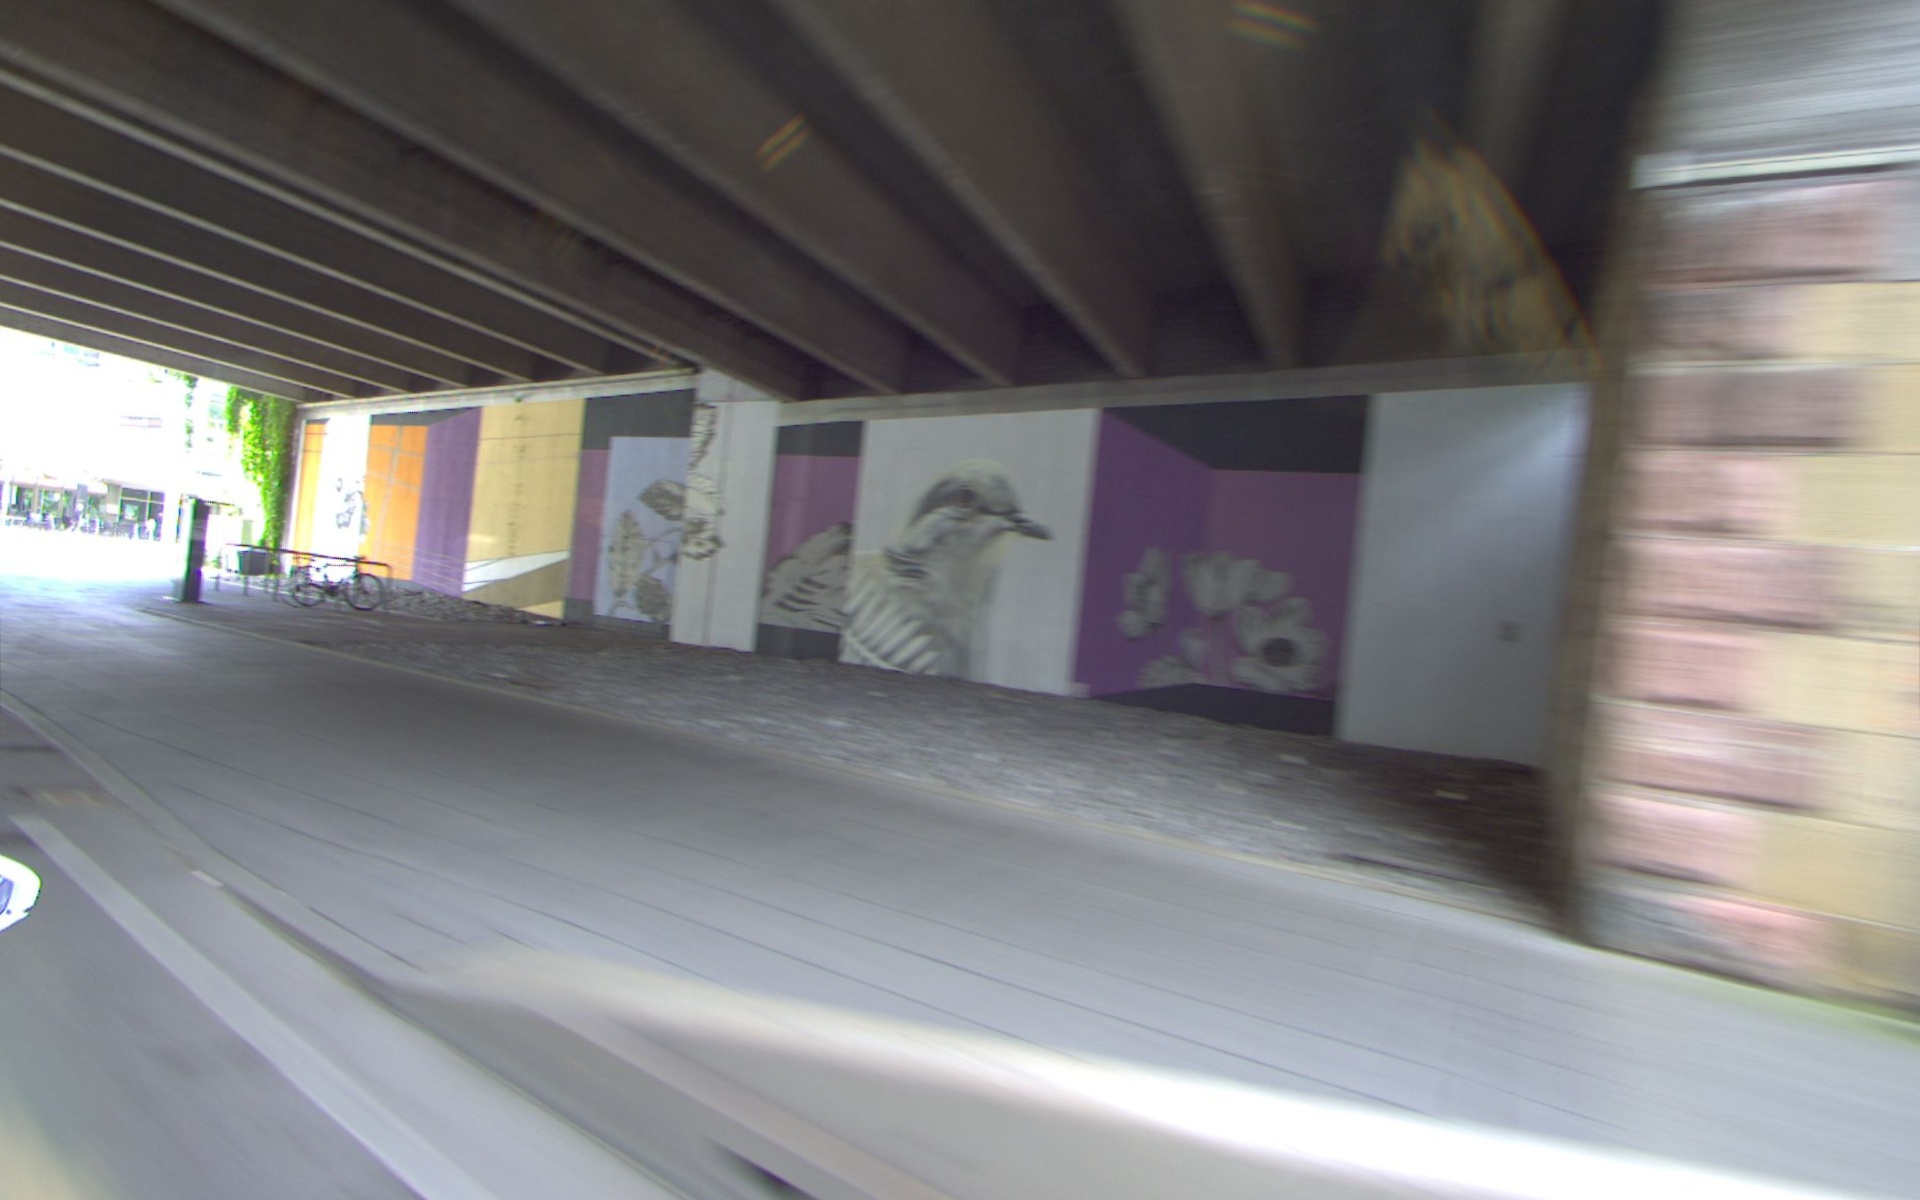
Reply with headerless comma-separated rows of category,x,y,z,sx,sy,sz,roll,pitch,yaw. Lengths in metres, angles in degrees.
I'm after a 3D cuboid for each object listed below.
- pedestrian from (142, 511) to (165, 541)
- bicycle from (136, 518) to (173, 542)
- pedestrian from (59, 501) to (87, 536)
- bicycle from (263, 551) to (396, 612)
pedestrian,-48.156,-4.414,60.082,0.606,1.694,0.698,7,0,20
bicycle,-48.076,-4.152,60.050,1.525,1.181,0.493,8,-2,-26
pedestrian,-45.819,-4.198,51.977,0.605,1.694,0.698,7,0,8
bicycle,-11.089,-0.305,17.764,0.498,0.915,1.949,6,0,27
